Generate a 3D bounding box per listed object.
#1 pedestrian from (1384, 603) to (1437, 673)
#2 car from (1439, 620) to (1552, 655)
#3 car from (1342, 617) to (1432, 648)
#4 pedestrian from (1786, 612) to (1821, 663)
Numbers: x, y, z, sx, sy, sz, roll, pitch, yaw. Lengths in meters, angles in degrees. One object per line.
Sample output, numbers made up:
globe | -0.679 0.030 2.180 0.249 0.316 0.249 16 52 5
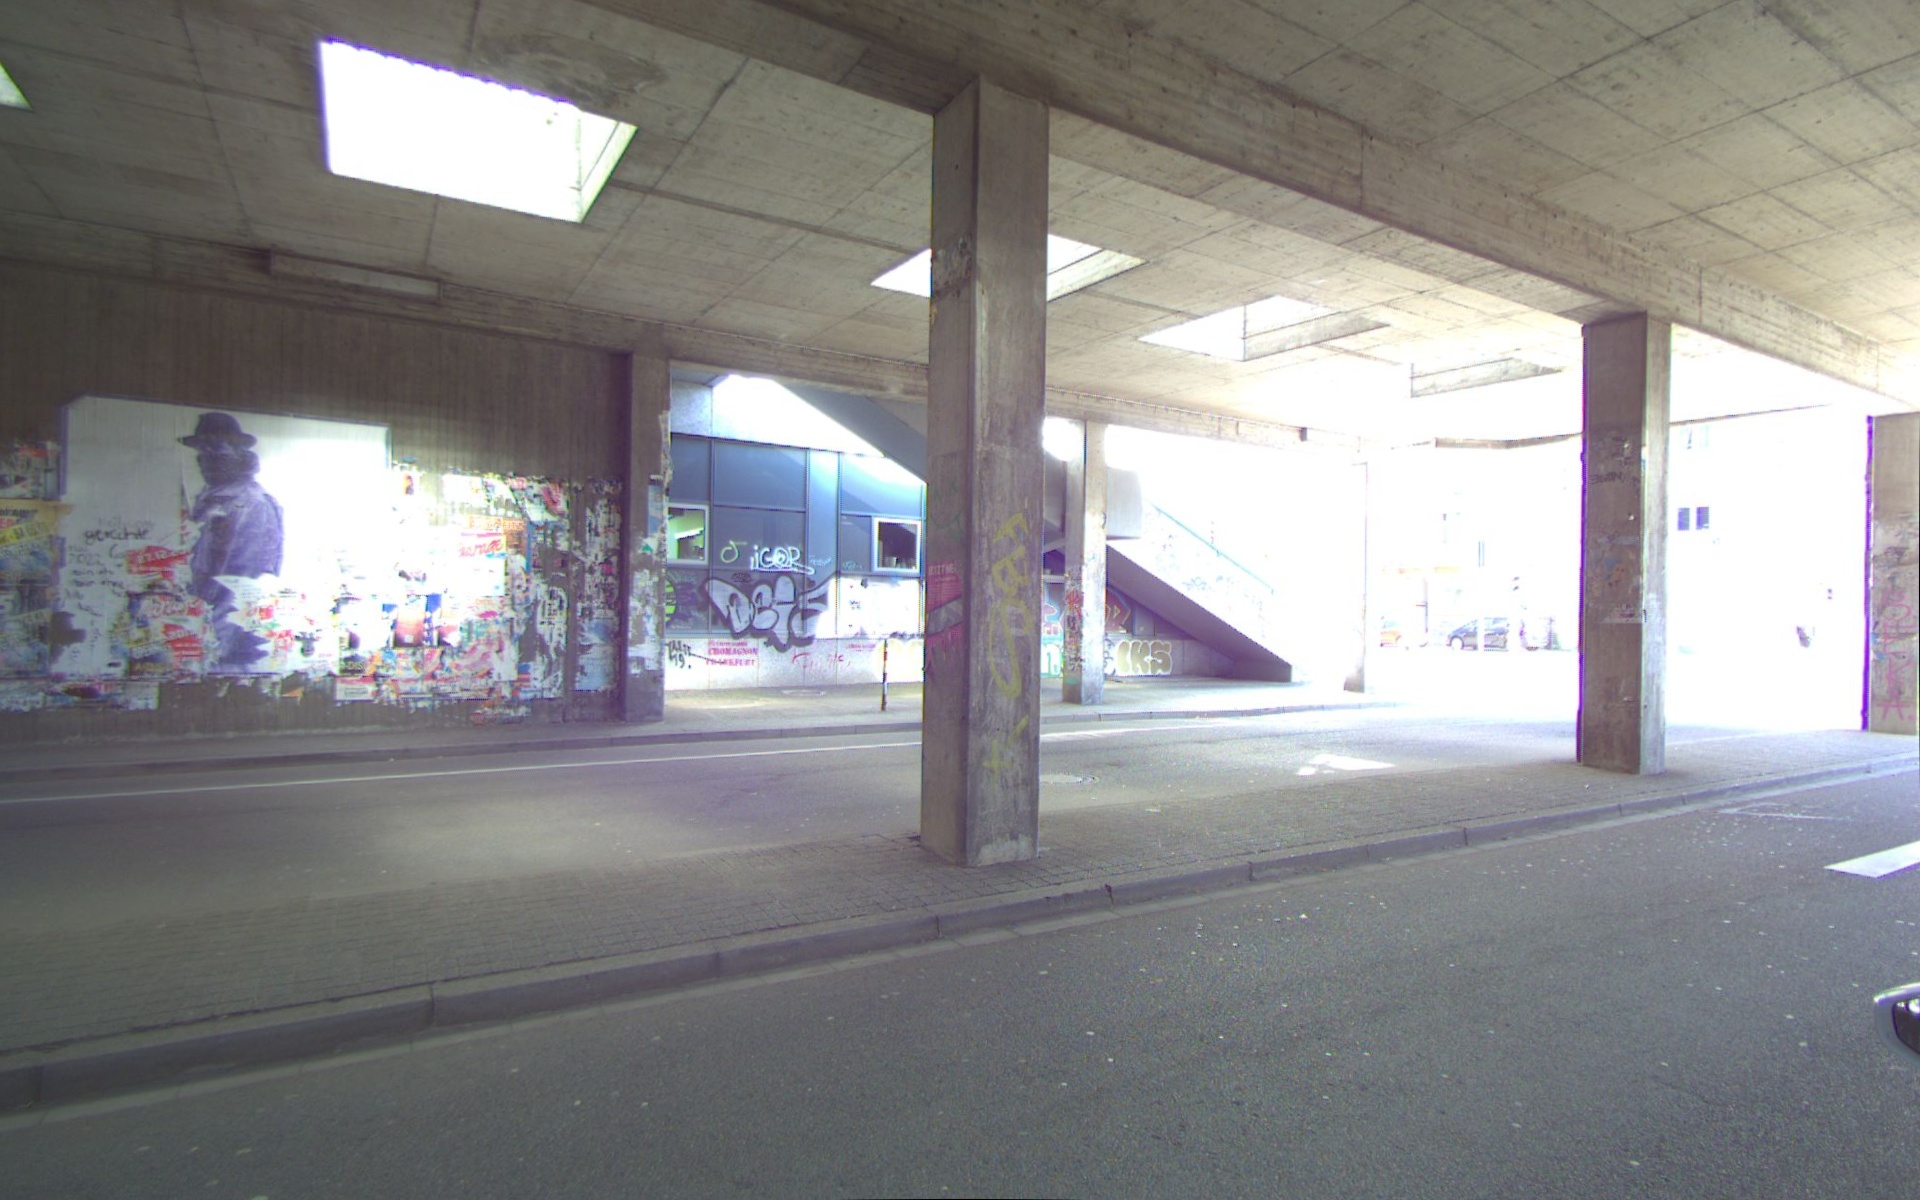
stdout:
pedestrian | 11.710 0.983 26.133 0.784 1.785 0.925 2 0 -28
car | 25.358 1.749 47.729 1.905 1.428 4.382 2 0 -32
car | 22.335 1.699 52.657 1.905 1.428 3.965 2 0 -32
pedestrian | 28.071 1.248 33.426 0.732 1.659 0.669 2 0 -30
